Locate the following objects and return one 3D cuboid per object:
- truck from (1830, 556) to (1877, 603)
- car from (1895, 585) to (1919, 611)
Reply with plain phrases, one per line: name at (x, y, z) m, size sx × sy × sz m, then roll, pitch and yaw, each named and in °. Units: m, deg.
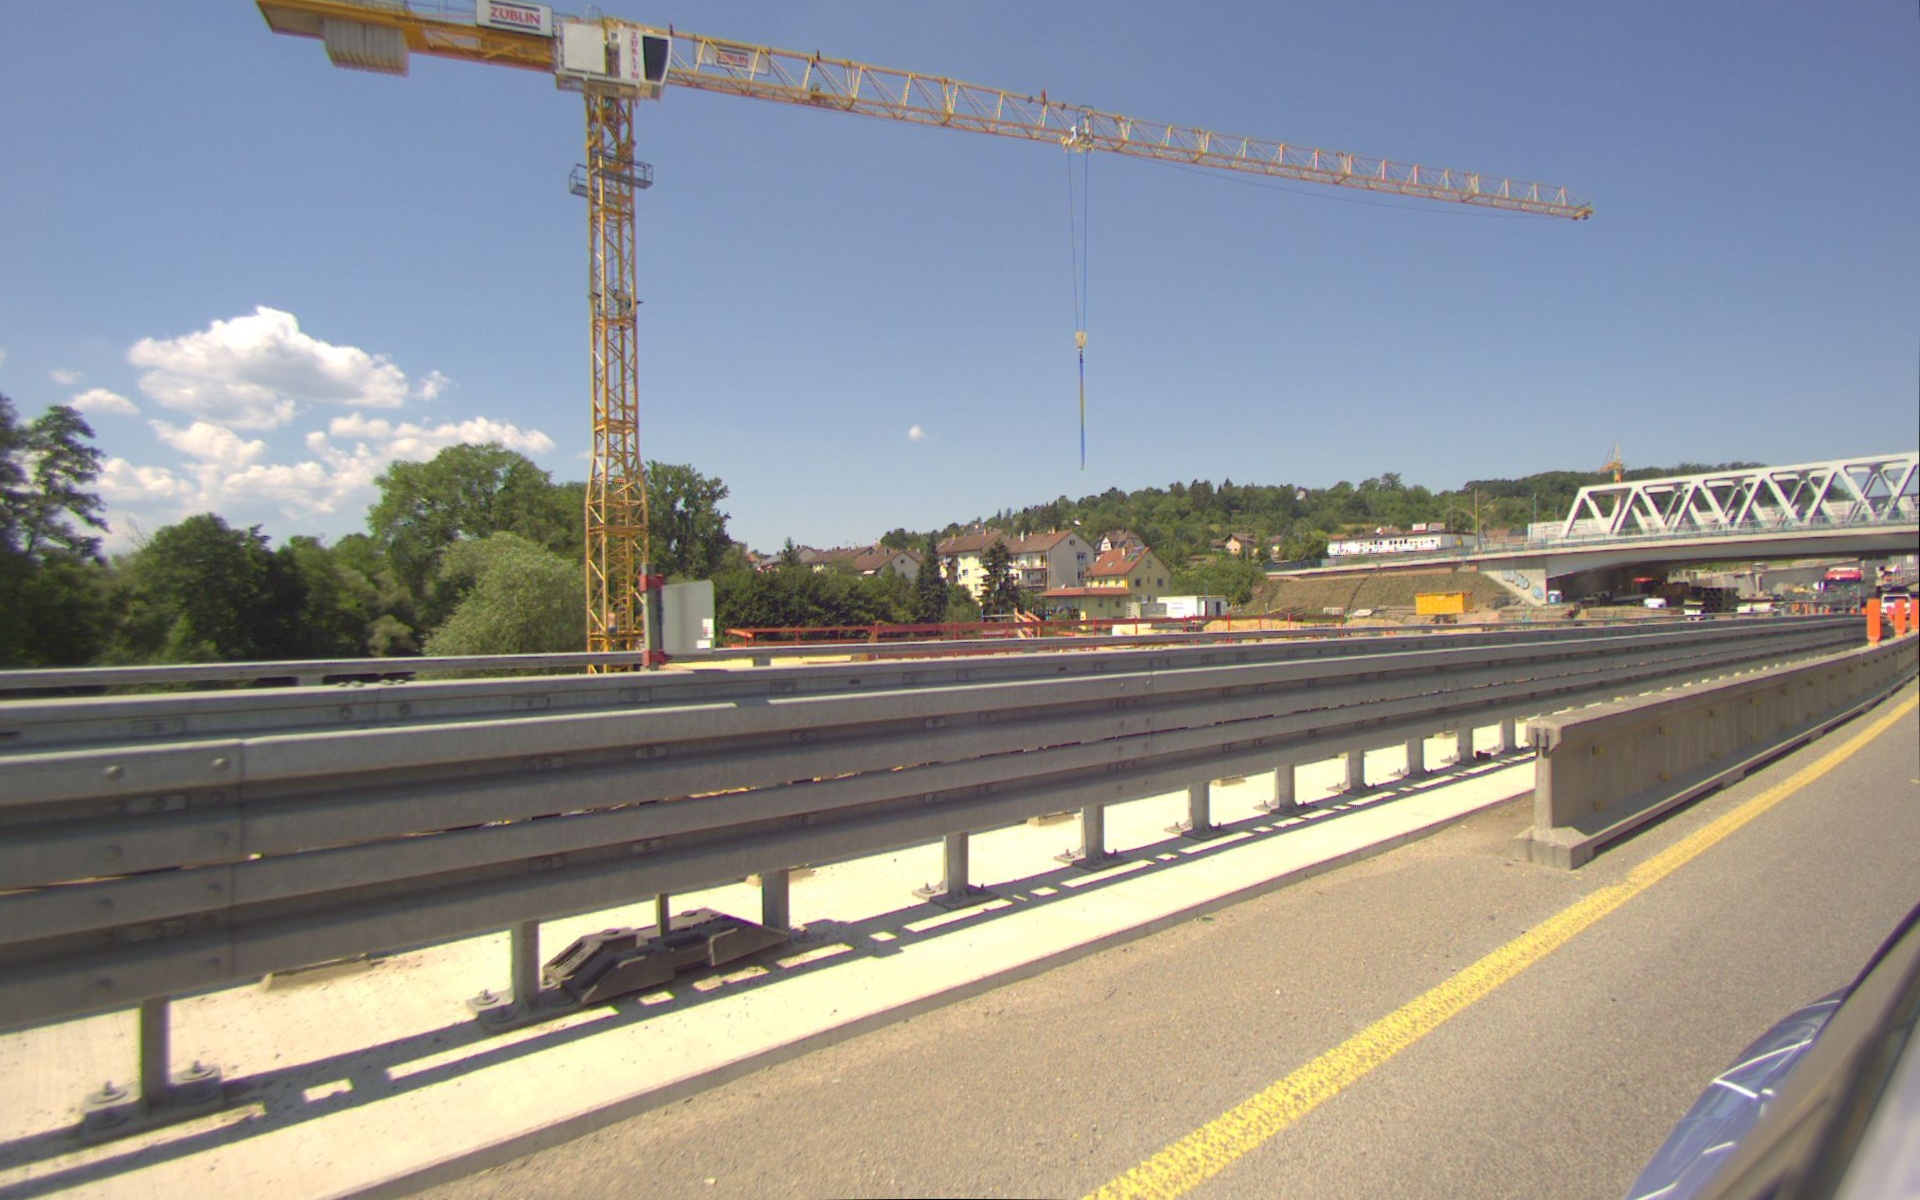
truck at (75.320, -1.672, 85.420) m, size 2.693 × 3.772 × 8.384 m, roll 2°, pitch 1°, yaw 40°
car at (72.864, -0.117, 77.430) m, size 1.785 × 1.906 × 3.940 m, roll -2°, pitch -2°, yaw 41°
